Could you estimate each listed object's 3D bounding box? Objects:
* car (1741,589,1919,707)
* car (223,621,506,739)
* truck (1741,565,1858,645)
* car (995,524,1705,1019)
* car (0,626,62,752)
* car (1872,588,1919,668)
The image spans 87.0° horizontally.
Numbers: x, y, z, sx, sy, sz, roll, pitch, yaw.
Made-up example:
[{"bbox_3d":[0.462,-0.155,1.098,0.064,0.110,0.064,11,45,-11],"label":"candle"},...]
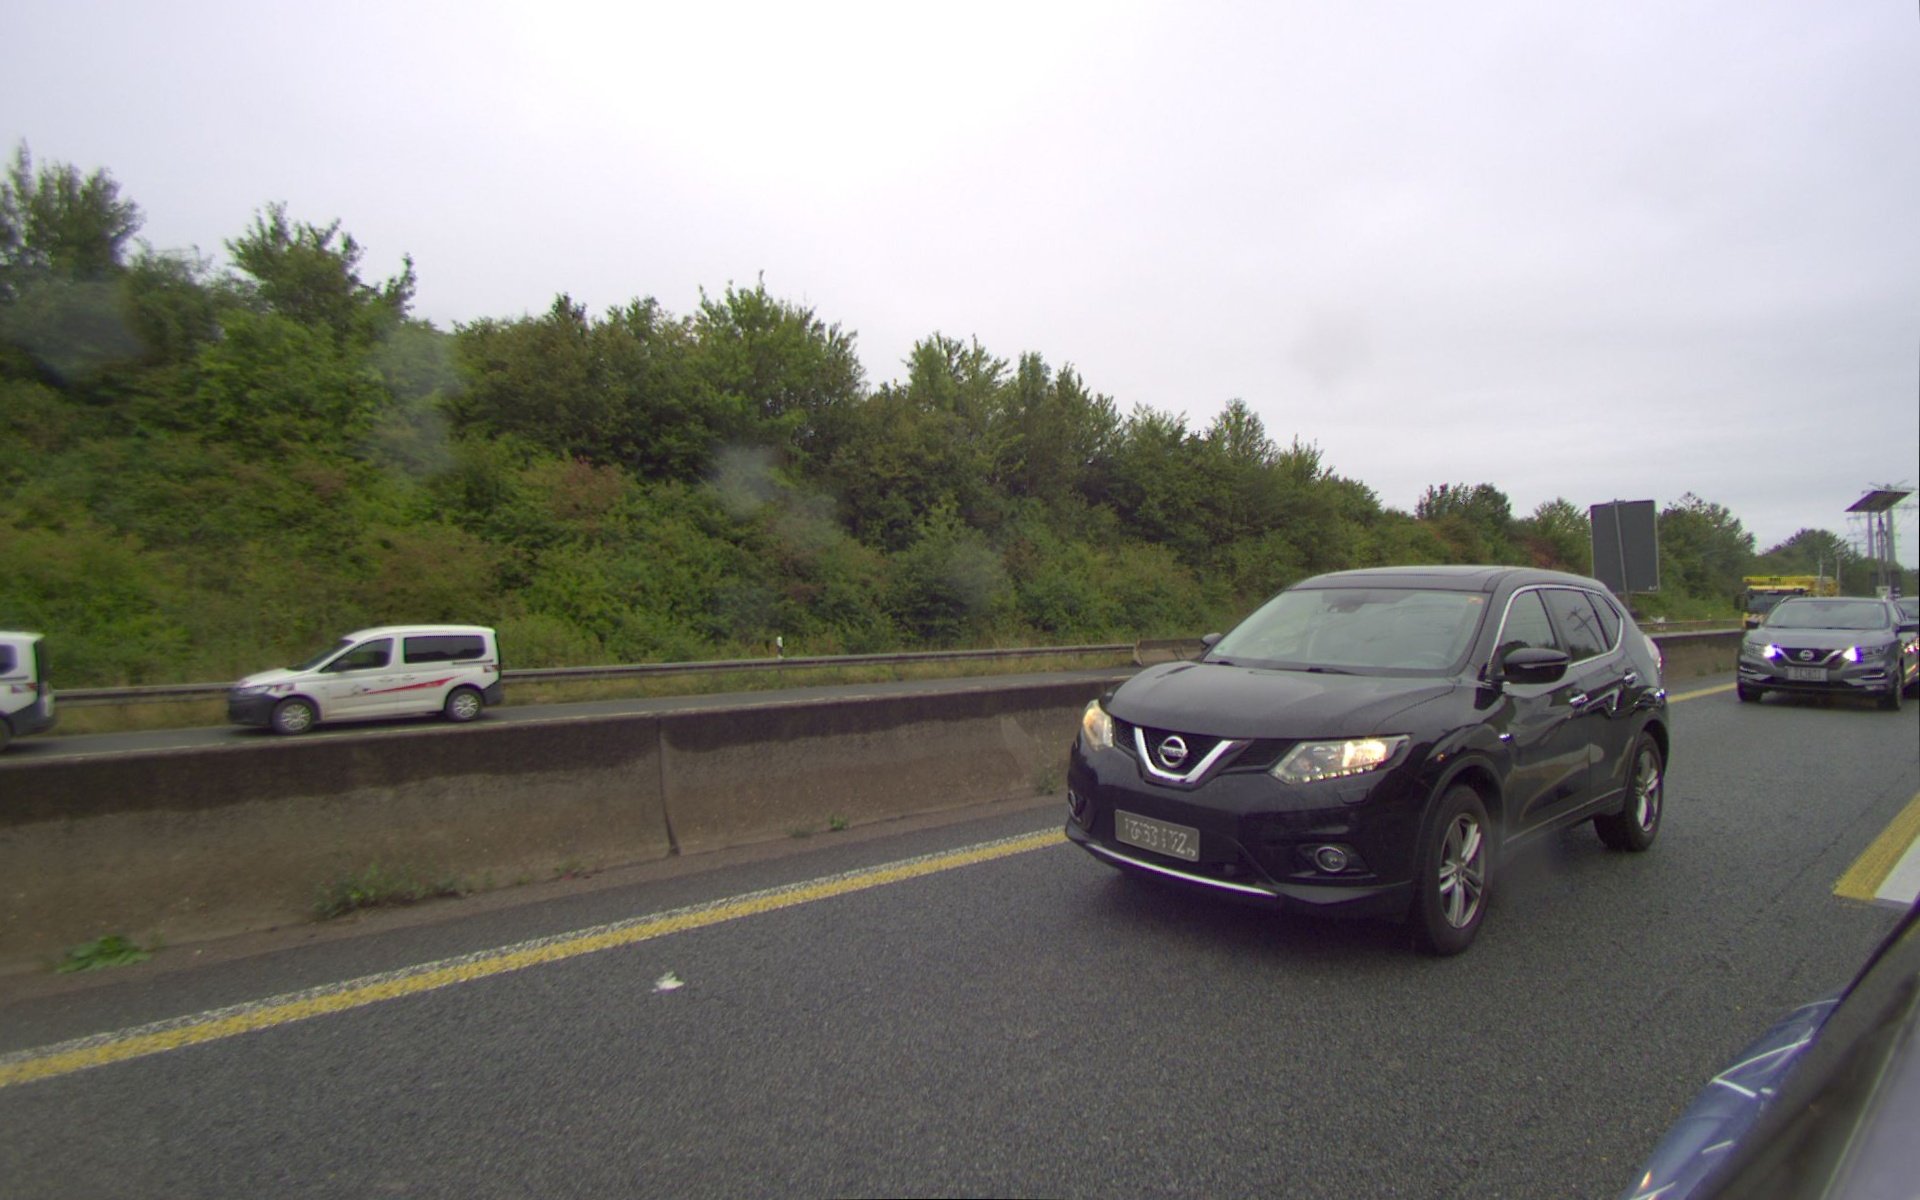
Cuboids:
[{"bbox_3d":[13.228,0.595,15.109,4.053,1.509,1.782,-1,1,-42],"label":"car"},{"bbox_3d":[-10.869,1.356,18.655,4.255,1.792,1.731,-1,1,-42],"label":"car"},{"bbox_3d":[39.917,0.162,47.991,9.405,3.467,2.618,-1,1,-40],"label":"truck"},{"bbox_3d":[2.484,0.556,5.709,4.561,1.696,1.892,-1,1,-42],"label":"car"},{"bbox_3d":[-15.699,1.343,14.509,4.195,1.780,1.731,-1,1,-42],"label":"car"},{"bbox_3d":[21.202,0.555,21.893,4.053,1.618,1.782,-1,1,-42],"label":"car"}]
